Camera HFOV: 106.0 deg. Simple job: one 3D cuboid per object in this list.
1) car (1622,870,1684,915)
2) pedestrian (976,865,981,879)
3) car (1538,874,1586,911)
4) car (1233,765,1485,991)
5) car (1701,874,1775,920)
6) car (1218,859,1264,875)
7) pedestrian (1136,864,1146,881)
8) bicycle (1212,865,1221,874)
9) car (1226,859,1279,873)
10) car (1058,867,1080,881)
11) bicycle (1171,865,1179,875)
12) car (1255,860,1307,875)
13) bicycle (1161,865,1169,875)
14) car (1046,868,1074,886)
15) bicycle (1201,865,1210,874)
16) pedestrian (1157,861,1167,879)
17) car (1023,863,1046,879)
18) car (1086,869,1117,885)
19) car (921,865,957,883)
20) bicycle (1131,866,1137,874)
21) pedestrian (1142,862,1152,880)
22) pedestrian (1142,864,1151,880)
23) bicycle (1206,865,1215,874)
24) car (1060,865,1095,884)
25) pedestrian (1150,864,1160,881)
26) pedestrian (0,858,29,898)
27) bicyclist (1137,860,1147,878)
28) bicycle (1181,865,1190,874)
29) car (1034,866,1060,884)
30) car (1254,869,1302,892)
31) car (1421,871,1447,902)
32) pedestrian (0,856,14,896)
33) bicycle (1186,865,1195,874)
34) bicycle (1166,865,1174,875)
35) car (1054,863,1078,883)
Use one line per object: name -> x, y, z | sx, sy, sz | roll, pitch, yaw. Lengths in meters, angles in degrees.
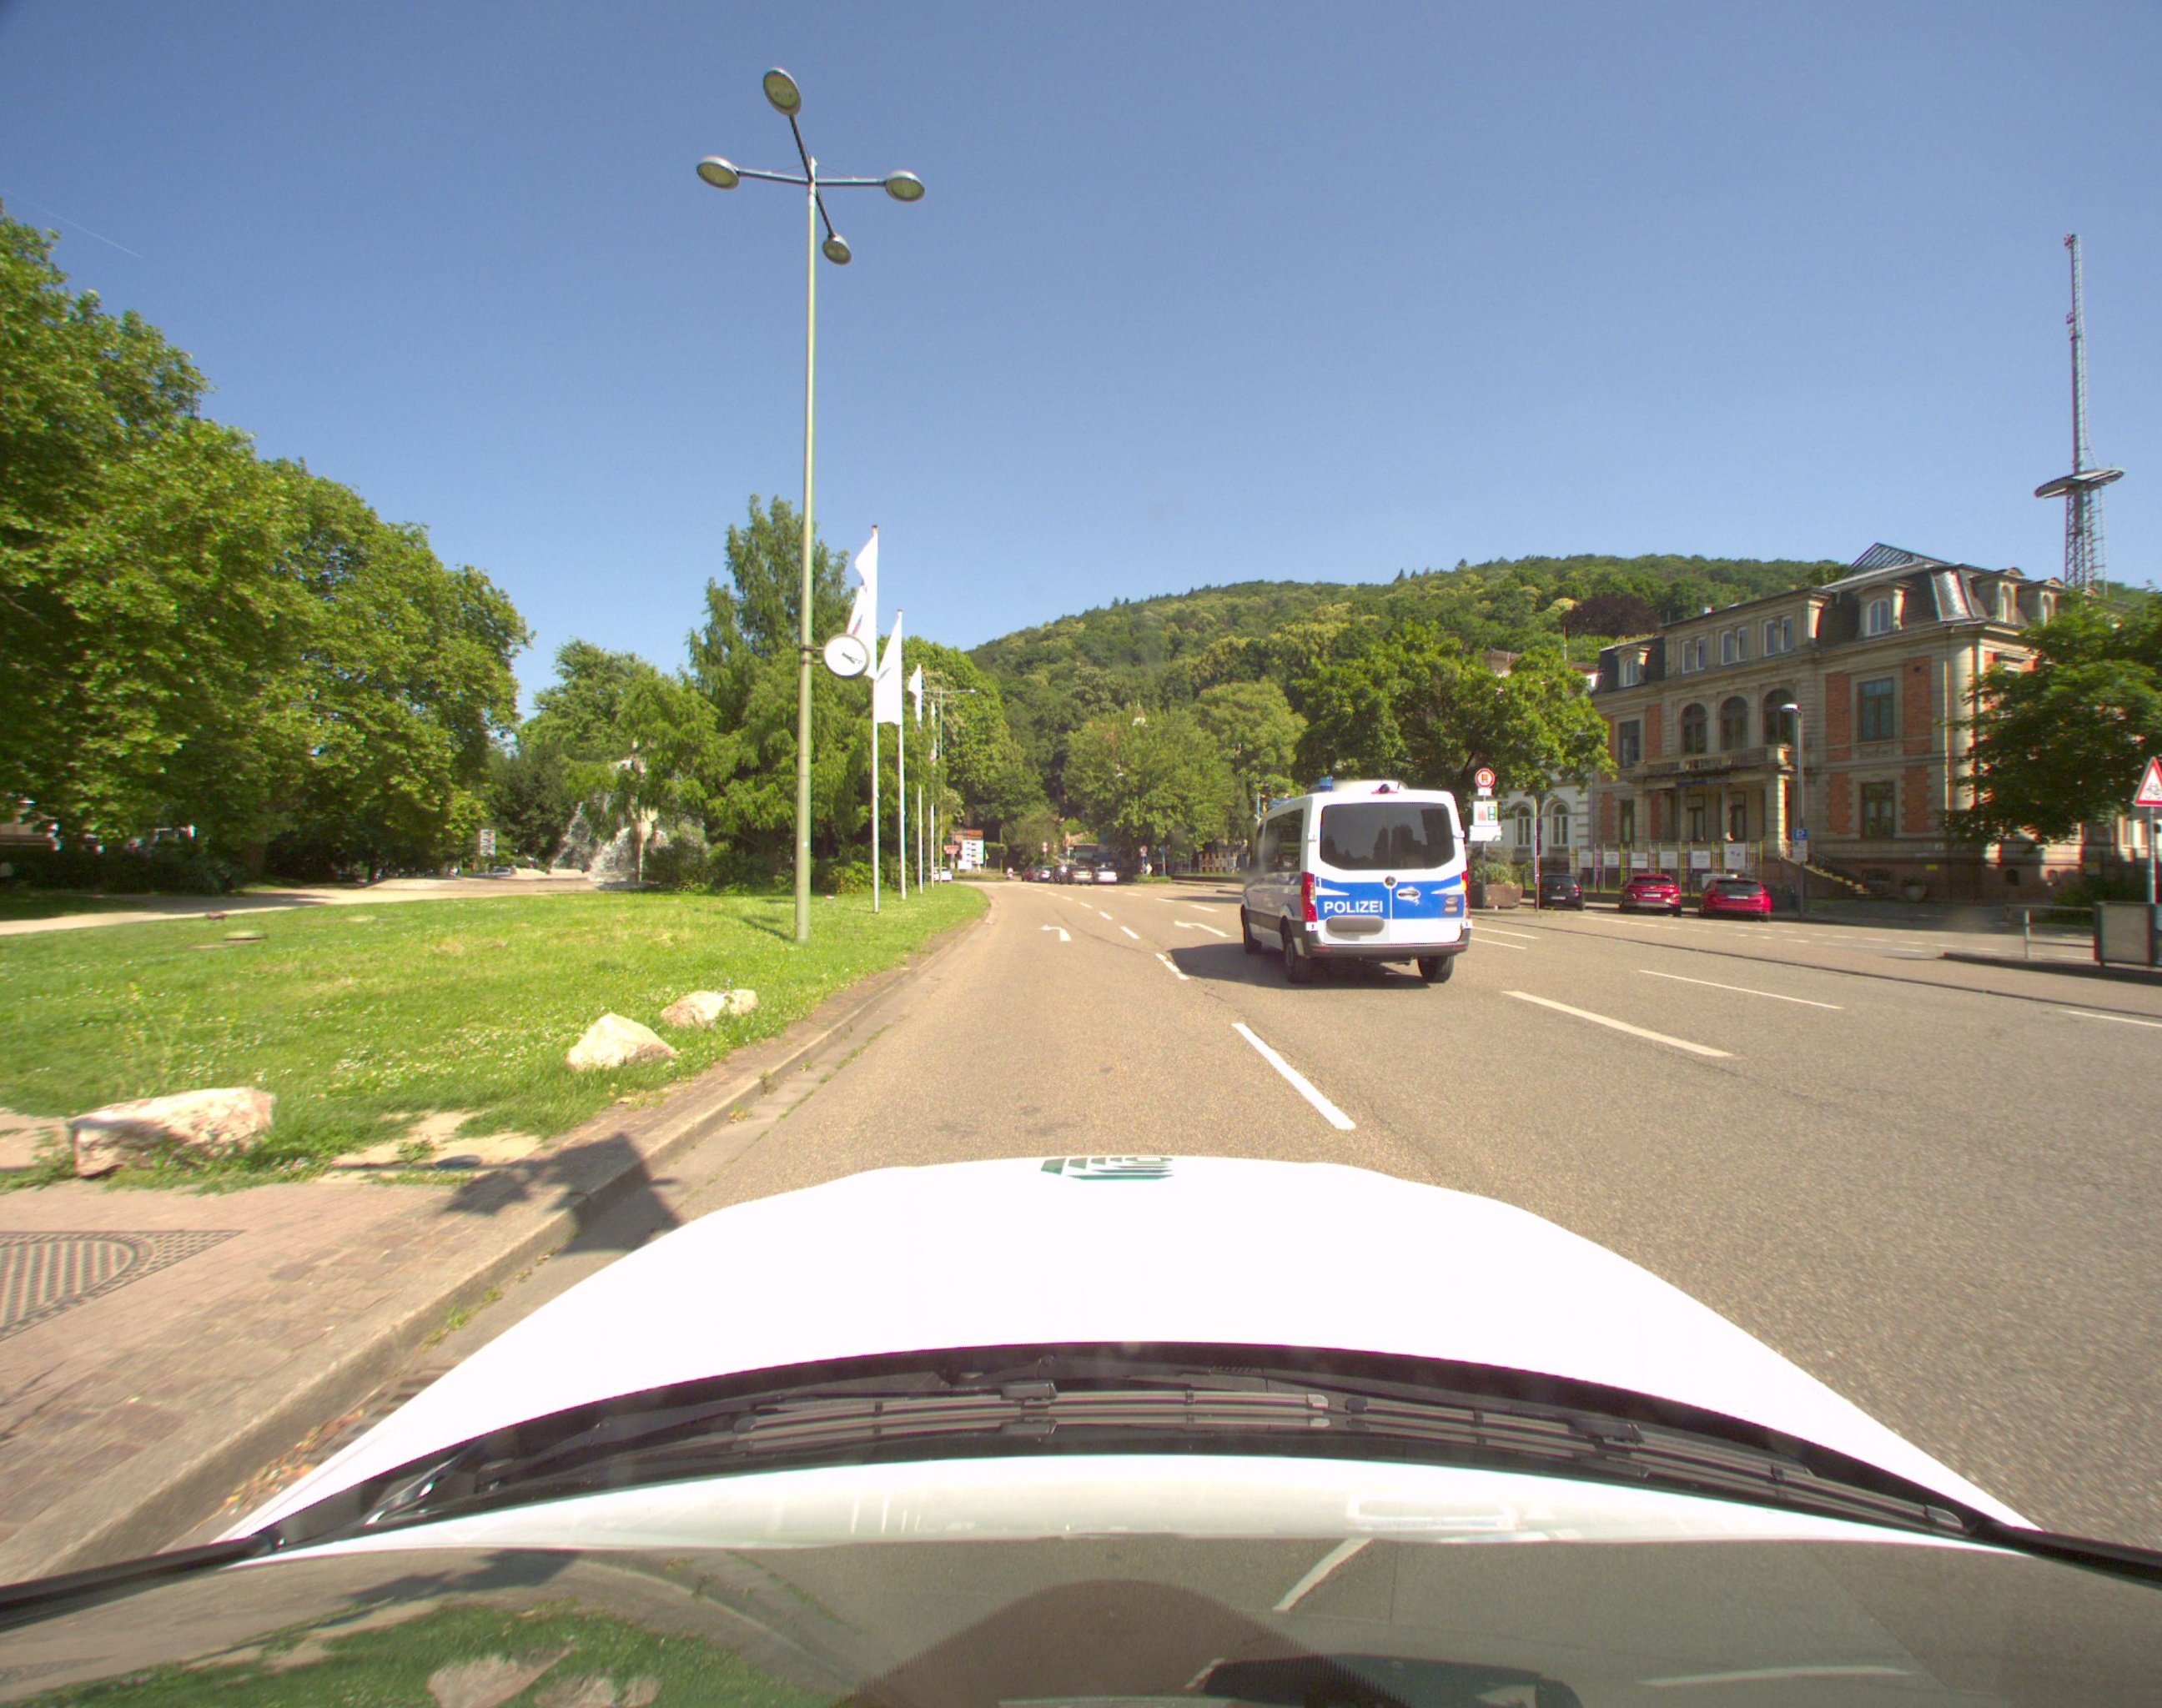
car -> 21.663, 1.409, 30.936 | 1.727, 1.575, 3.902 | 0, -1, 32
pedestrian -> -11.833, 2.044, 93.761 | 0.545, 1.621, 0.633 | 0, 0, -2
car -> 20.014, 1.537, 33.827 | 1.585, 1.417, 3.844 | 0, -1, 32
car -> 3.563, 0.315, 11.563 | 2.065, 2.509, 4.931 | 0, -1, 2
car -> 22.411, 1.423, 27.887 | 1.727, 1.418, 3.724 | 0, -1, 35
car -> 15.745, 1.290, 80.167 | 4.152, 1.476, 1.867 | 0, -1, -17
pedestrian -> 6.029, 1.835, 81.844 | 0.771, 1.663, 0.826 | 1, -1, -11
bicycle -> 16.206, 1.852, 97.640 | 0.537, 1.085, 1.829 | 0, -1, -9
car -> 15.811, 1.106, 75.308 | 4.472, 1.336, 1.813 | 0, -1, -14
car -> -1.352, 2.162, 87.762 | 1.757, 1.461, 3.479 | 1, -1, -12
bicycle -> 11.195, 1.889, 97.105 | 0.537, 1.085, 1.829 | 0, -1, -9
car -> 17.381, 1.171, 70.855 | 4.046, 1.336, 1.852 | 0, -1, -14
bicycle -> 9.975, 1.897, 96.885 | 0.537, 1.085, 1.829 | 0, -1, -9
car -> -1.768, 1.876, 67.167 | 1.757, 1.461, 3.479 | 1, -1, -12
bicycle -> 14.878, 1.864, 97.575 | 0.537, 1.085, 1.829 | 0, -1, -9
pedestrian -> 8.119, 1.597, 81.403 | 0.772, 1.854, 0.826 | 1, -1, -13
car -> -4.421, 1.615, 77.226 | 1.757, 1.461, 3.479 | 1, -1, -12
car -> 1.630, 1.836, 65.632 | 1.757, 1.213, 3.479 | 1, -1, -12
car -> -12.254, 1.723, 70.238 | 1.855, 1.460, 3.457 | 1, -1, -34
bicycle -> 6.561, 1.948, 101.519 | 0.405, 1.012, 1.336 | 0, 0, -11
pedestrian -> 6.569, 1.695, 80.968 | 0.771, 1.854, 0.826 | 1, -1, -11
pedestrian -> 6.651, 1.845, 82.756 | 0.771, 1.663, 0.826 | 1, -1, -11
bicycle -> 15.513, 1.860, 97.701 | 0.537, 1.085, 1.829 | 0, -1, -9
car -> -0.288, 1.510, 61.164 | 1.759, 1.334, 3.783 | 1, -1, -14
pedestrian -> 7.382, 1.820, 81.334 | 0.771, 1.663, 0.826 | 1, -1, -10
pedestrian -> -32.787, 0.723, 24.760 | 0.749, 1.226, 0.672 | 0, -1, 10
bicyclist -> 6.765, 1.646, 90.451 | 1.122, 1.933, 0.748 | 0, -1, 1
bicycle -> 12.489, 1.880, 97.241 | 0.537, 1.085, 1.829 | 0, -1, -9
car -> -3.042, 1.833, 71.772 | 1.757, 1.461, 3.631 | 1, -1, -12
car -> 13.090, 1.713, 53.920 | 1.804, 1.461, 4.133 | 0, -1, 32
car -> 17.919, 1.622, 41.363 | 1.187, 1.483, 2.301 | 0, -1, 22
pedestrian -> -33.618, 0.681, 24.819 | 0.749, 1.226, 1.061 | 0, -1, 10
bicycle -> 13.075, 1.877, 97.370 | 0.537, 1.085, 1.829 | 0, -1, -9
bicycle -> 10.610, 1.893, 96.992 | 0.537, 1.085, 1.829 | 0, -1, -9
car -> -1.452, 1.827, 79.891 | 1.757, 1.938, 3.479 | 1, -1, -12
